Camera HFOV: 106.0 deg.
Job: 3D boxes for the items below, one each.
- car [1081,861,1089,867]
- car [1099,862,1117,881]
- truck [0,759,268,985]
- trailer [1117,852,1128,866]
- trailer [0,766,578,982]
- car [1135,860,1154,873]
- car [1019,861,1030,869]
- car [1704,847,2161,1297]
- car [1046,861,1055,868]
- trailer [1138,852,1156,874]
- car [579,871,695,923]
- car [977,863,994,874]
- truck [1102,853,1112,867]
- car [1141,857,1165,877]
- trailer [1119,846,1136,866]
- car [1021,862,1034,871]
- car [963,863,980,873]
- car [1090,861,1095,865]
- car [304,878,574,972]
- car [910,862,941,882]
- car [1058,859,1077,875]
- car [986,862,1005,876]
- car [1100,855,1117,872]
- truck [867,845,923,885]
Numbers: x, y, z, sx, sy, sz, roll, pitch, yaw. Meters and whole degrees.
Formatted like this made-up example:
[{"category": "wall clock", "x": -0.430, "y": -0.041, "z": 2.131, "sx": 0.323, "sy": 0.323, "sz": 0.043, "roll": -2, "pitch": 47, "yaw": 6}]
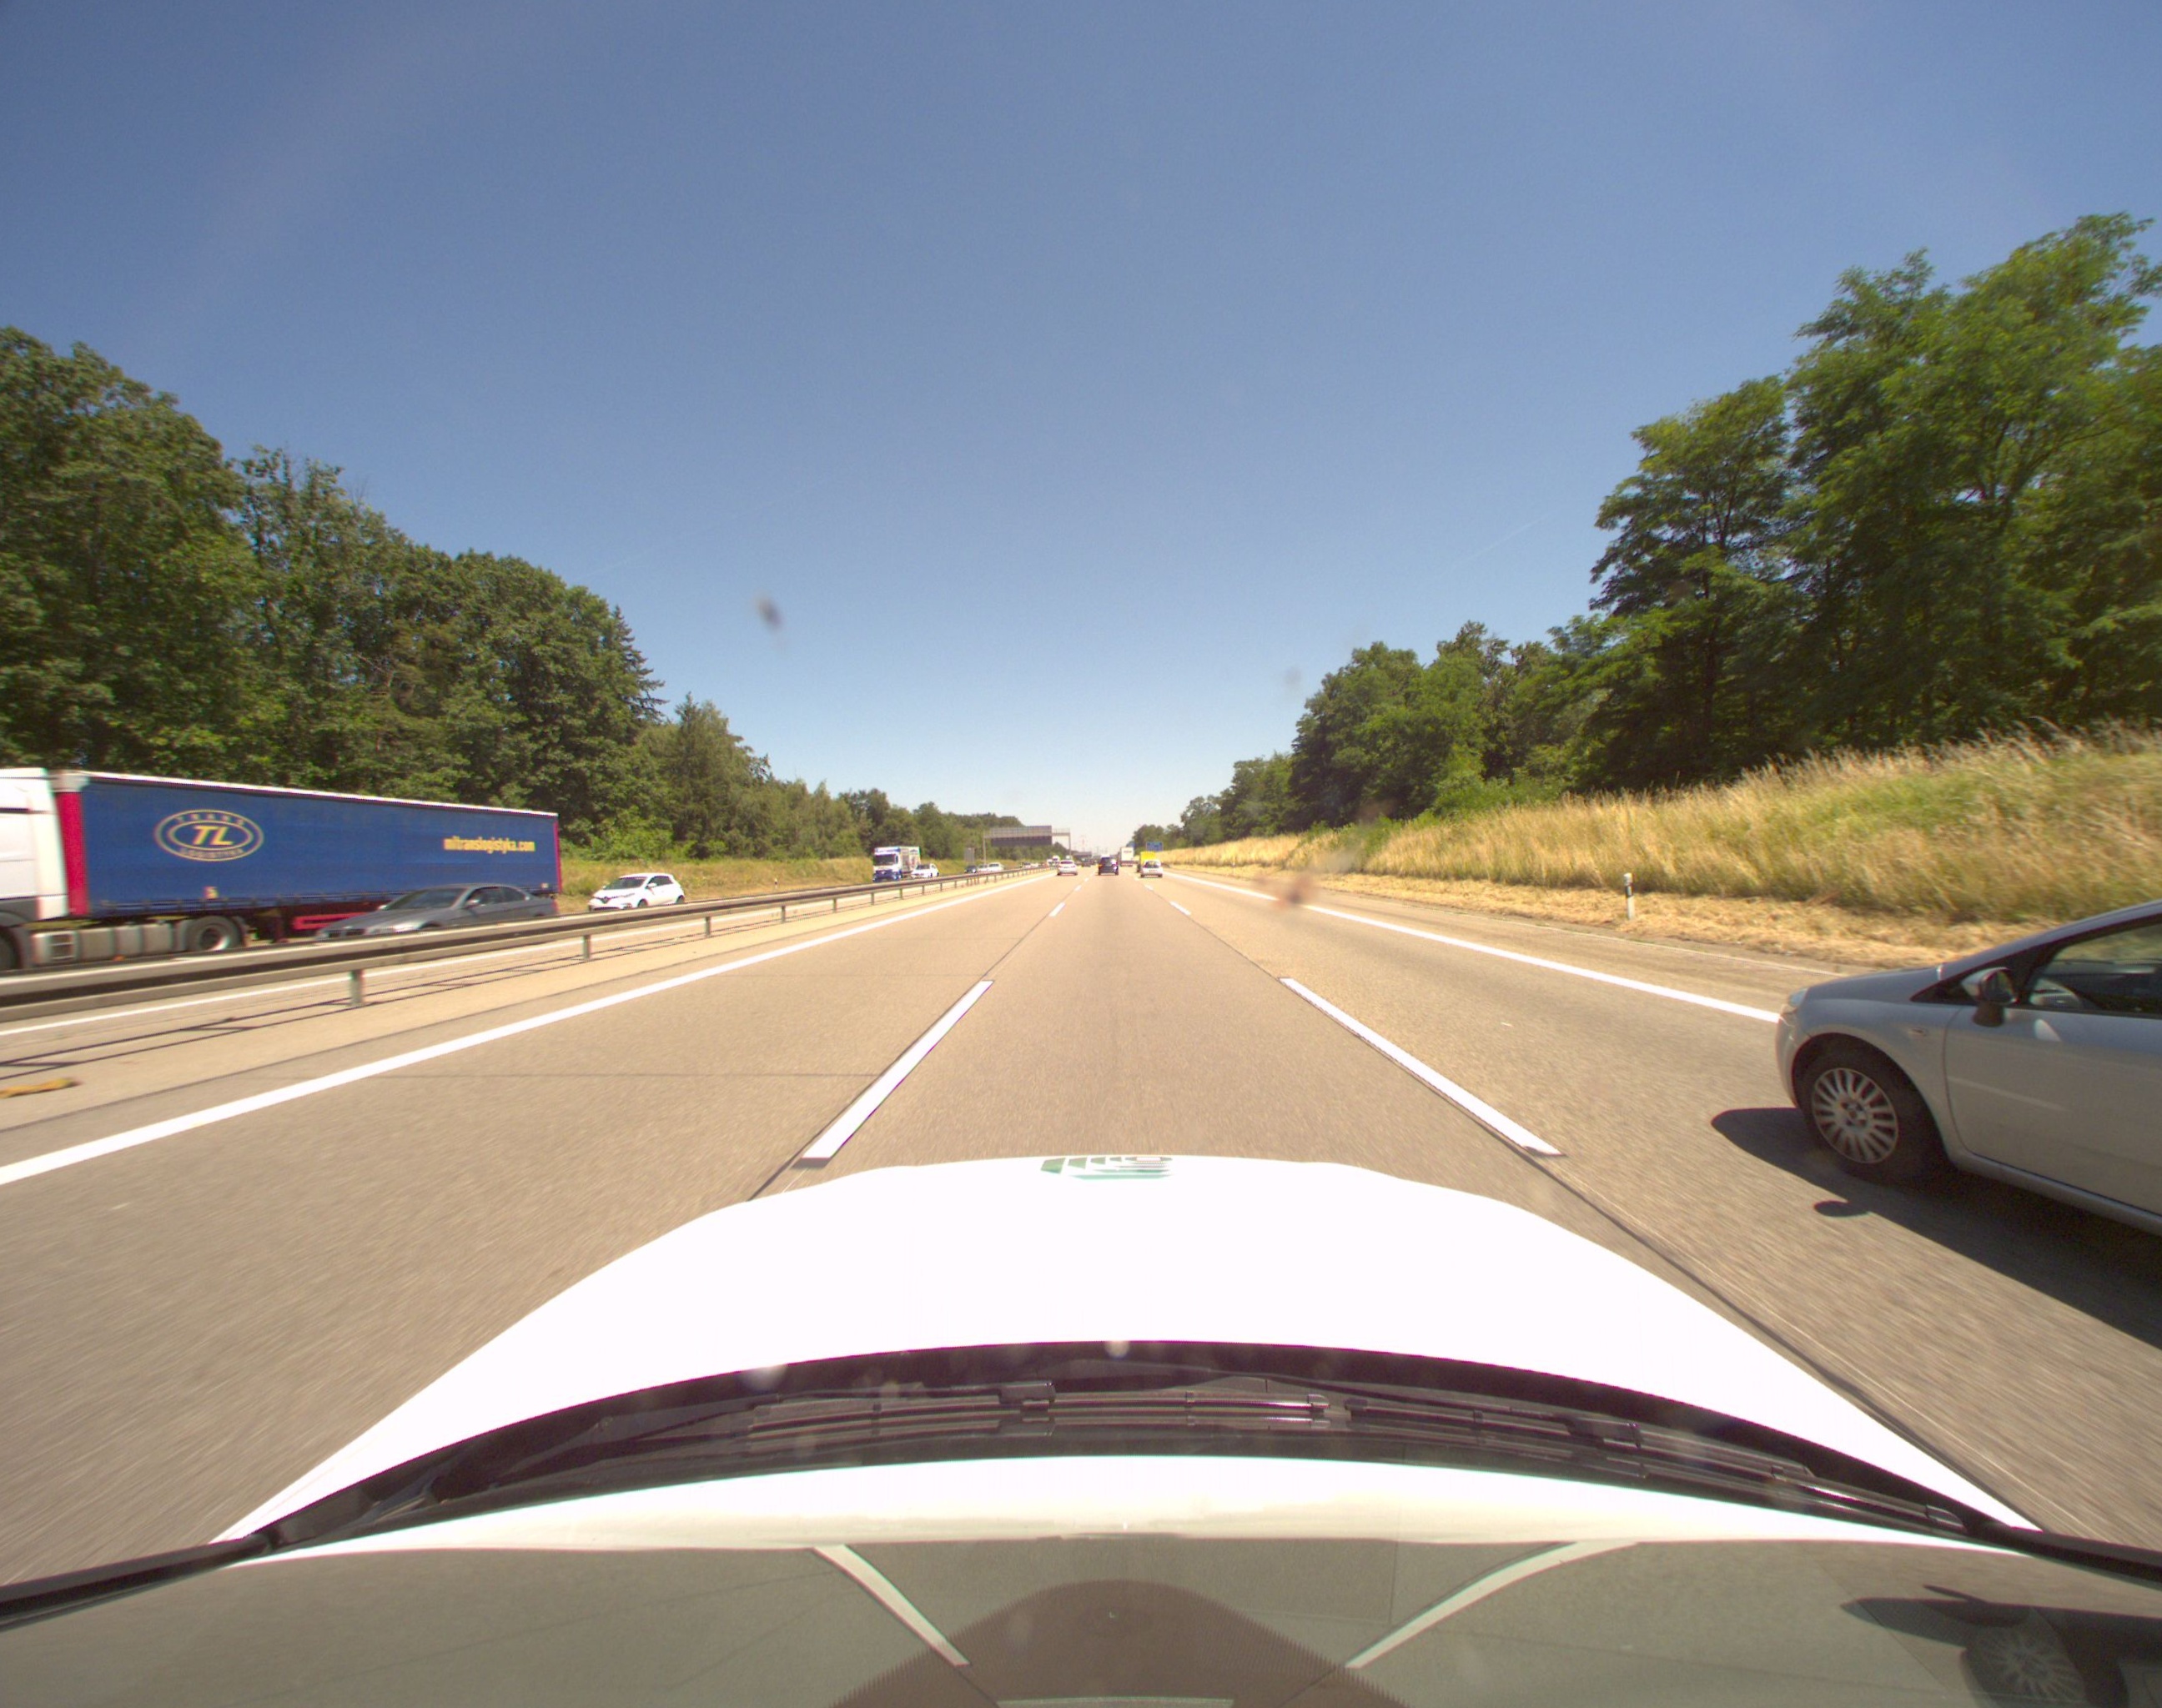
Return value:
[{"category": "car", "x": 0.784, "y": 2.008, "z": 163.219, "sx": 1.601, "sy": 1.300, "sz": 3.675, "roll": -1, "pitch": -1, "yaw": 2}, {"category": "car", "x": 2.583, "y": 1.650, "z": 76.905, "sx": 1.620, "sy": 1.755, "sz": 3.806, "roll": -1, "pitch": -1, "yaw": 2}, {"category": "truck", "x": -20.345, "y": 0.400, "z": 15.859, "sx": 2.496, "sy": 4.014, "sz": 6.127, "roll": -4, "pitch": -1, "yaw": 2}, {"category": "trailer", "x": 11.546, "y": 1.422, "z": 227.085, "sx": 2.673, "sy": 3.837, "sz": 12.012, "roll": 0, "pitch": -1, "yaw": 1}, {"category": "trailer", "x": -20.108, "y": 0.452, "z": 22.784, "sx": 2.496, "sy": 4.014, "sz": 14.373, "roll": -4, "pitch": -1, "yaw": 2}, {"category": "car", "x": 7.228, "y": 1.428, "z": 92.906, "sx": 1.815, "sy": 1.456, "sz": 4.788, "roll": -1, "pitch": -1, "yaw": 1}, {"category": "car", "x": -11.972, "y": 2.253, "z": 172.250, "sx": 1.788, "sy": 1.618, "sz": 4.987, "roll": -4, "pitch": -1, "yaw": 1}, {"category": "car", "x": 4.386, "y": 0.705, "z": 2.681, "sx": 1.738, "sy": 1.466, "sz": 3.982, "roll": 0, "pitch": -1, "yaw": 2}, {"category": "car", "x": -7.264, "y": 2.508, "z": 195.166, "sx": 1.692, "sy": 1.429, "sz": 4.574, "roll": -4, "pitch": -1, "yaw": 1}, {"category": "trailer", "x": 7.152, "y": 0.981, "z": 88.564, "sx": 1.697, "sy": 2.290, "sz": 3.840, "roll": -1, "pitch": -1, "yaw": 1}, {"category": "car", "x": -16.023, "y": 1.504, "z": 29.670, "sx": 1.598, "sy": 1.559, "sz": 4.470, "roll": -4, "pitch": -1, "yaw": 2}, {"category": "car", "x": -13.758, "y": 2.141, "z": 117.275, "sx": 1.755, "sy": 1.407, "sz": 4.353, "roll": -4, "pitch": -1, "yaw": 1}, {"category": "truck", "x": 5.719, "y": 1.413, "z": 179.734, "sx": 2.053, "sy": 2.914, "sz": 7.004, "roll": -1, "pitch": -1, "yaw": 1}, {"category": "car", "x": 5.845, "y": 1.040, "z": 66.092, "sx": 1.702, "sy": 1.495, "sz": 4.025, "roll": -1, "pitch": -1, "yaw": 2}, {"category": "trailer", "x": 9.839, "y": 0.517, "z": 172.995, "sx": 3.274, "sy": 4.219, "sz": 13.568, "roll": 0, "pitch": -1, "yaw": 1}, {"category": "car", "x": -9.431, "y": 2.230, "z": 144.065, "sx": 1.755, "sy": 1.459, "sz": 5.121, "roll": -4, "pitch": -1, "yaw": 1}, {"category": "car", "x": -17.014, "y": 2.217, "z": 126.812, "sx": 1.648, "sy": 1.411, "sz": 5.178, "roll": -4, "pitch": -1, "yaw": 2}, {"category": "car", "x": 3.038, "y": 2.284, "z": 212.731, "sx": 1.400, "sy": 1.131, "sz": 3.359, "roll": -1, "pitch": -1, "yaw": 2}, {"category": "car", "x": -12.316, "y": 1.272, "z": 16.108, "sx": 1.599, "sy": 1.399, "sz": 4.545, "roll": -4, "pitch": -1, "yaw": 1}, {"category": "car", "x": -14.494, "y": 1.659, "z": 76.174, "sx": 1.721, "sy": 1.646, "sz": 5.089, "roll": -4, "pitch": -1, "yaw": 1}, {"category": "car", "x": -1.259, "y": 1.202, "z": 77.343, "sx": 1.663, "sy": 1.401, "sz": 3.713, "roll": -2, "pitch": 0, "yaw": 0}, {"category": "car", "x": -9.511, "y": 1.639, "z": 90.746, "sx": 1.511, "sy": 1.467, "sz": 3.641, "roll": -4, "pitch": -1, "yaw": 1}, {"category": "car", "x": 3.130, "y": 1.059, "z": 91.897, "sx": 1.808, "sy": 1.827, "sz": 5.111, "roll": -1, "pitch": -1, "yaw": 1}, {"category": "truck", "x": -18.414, "y": 1.051, "z": 81.420, "sx": 2.722, "sy": 3.518, "sz": 10.444, "roll": -4, "pitch": -1, "yaw": 1}]
